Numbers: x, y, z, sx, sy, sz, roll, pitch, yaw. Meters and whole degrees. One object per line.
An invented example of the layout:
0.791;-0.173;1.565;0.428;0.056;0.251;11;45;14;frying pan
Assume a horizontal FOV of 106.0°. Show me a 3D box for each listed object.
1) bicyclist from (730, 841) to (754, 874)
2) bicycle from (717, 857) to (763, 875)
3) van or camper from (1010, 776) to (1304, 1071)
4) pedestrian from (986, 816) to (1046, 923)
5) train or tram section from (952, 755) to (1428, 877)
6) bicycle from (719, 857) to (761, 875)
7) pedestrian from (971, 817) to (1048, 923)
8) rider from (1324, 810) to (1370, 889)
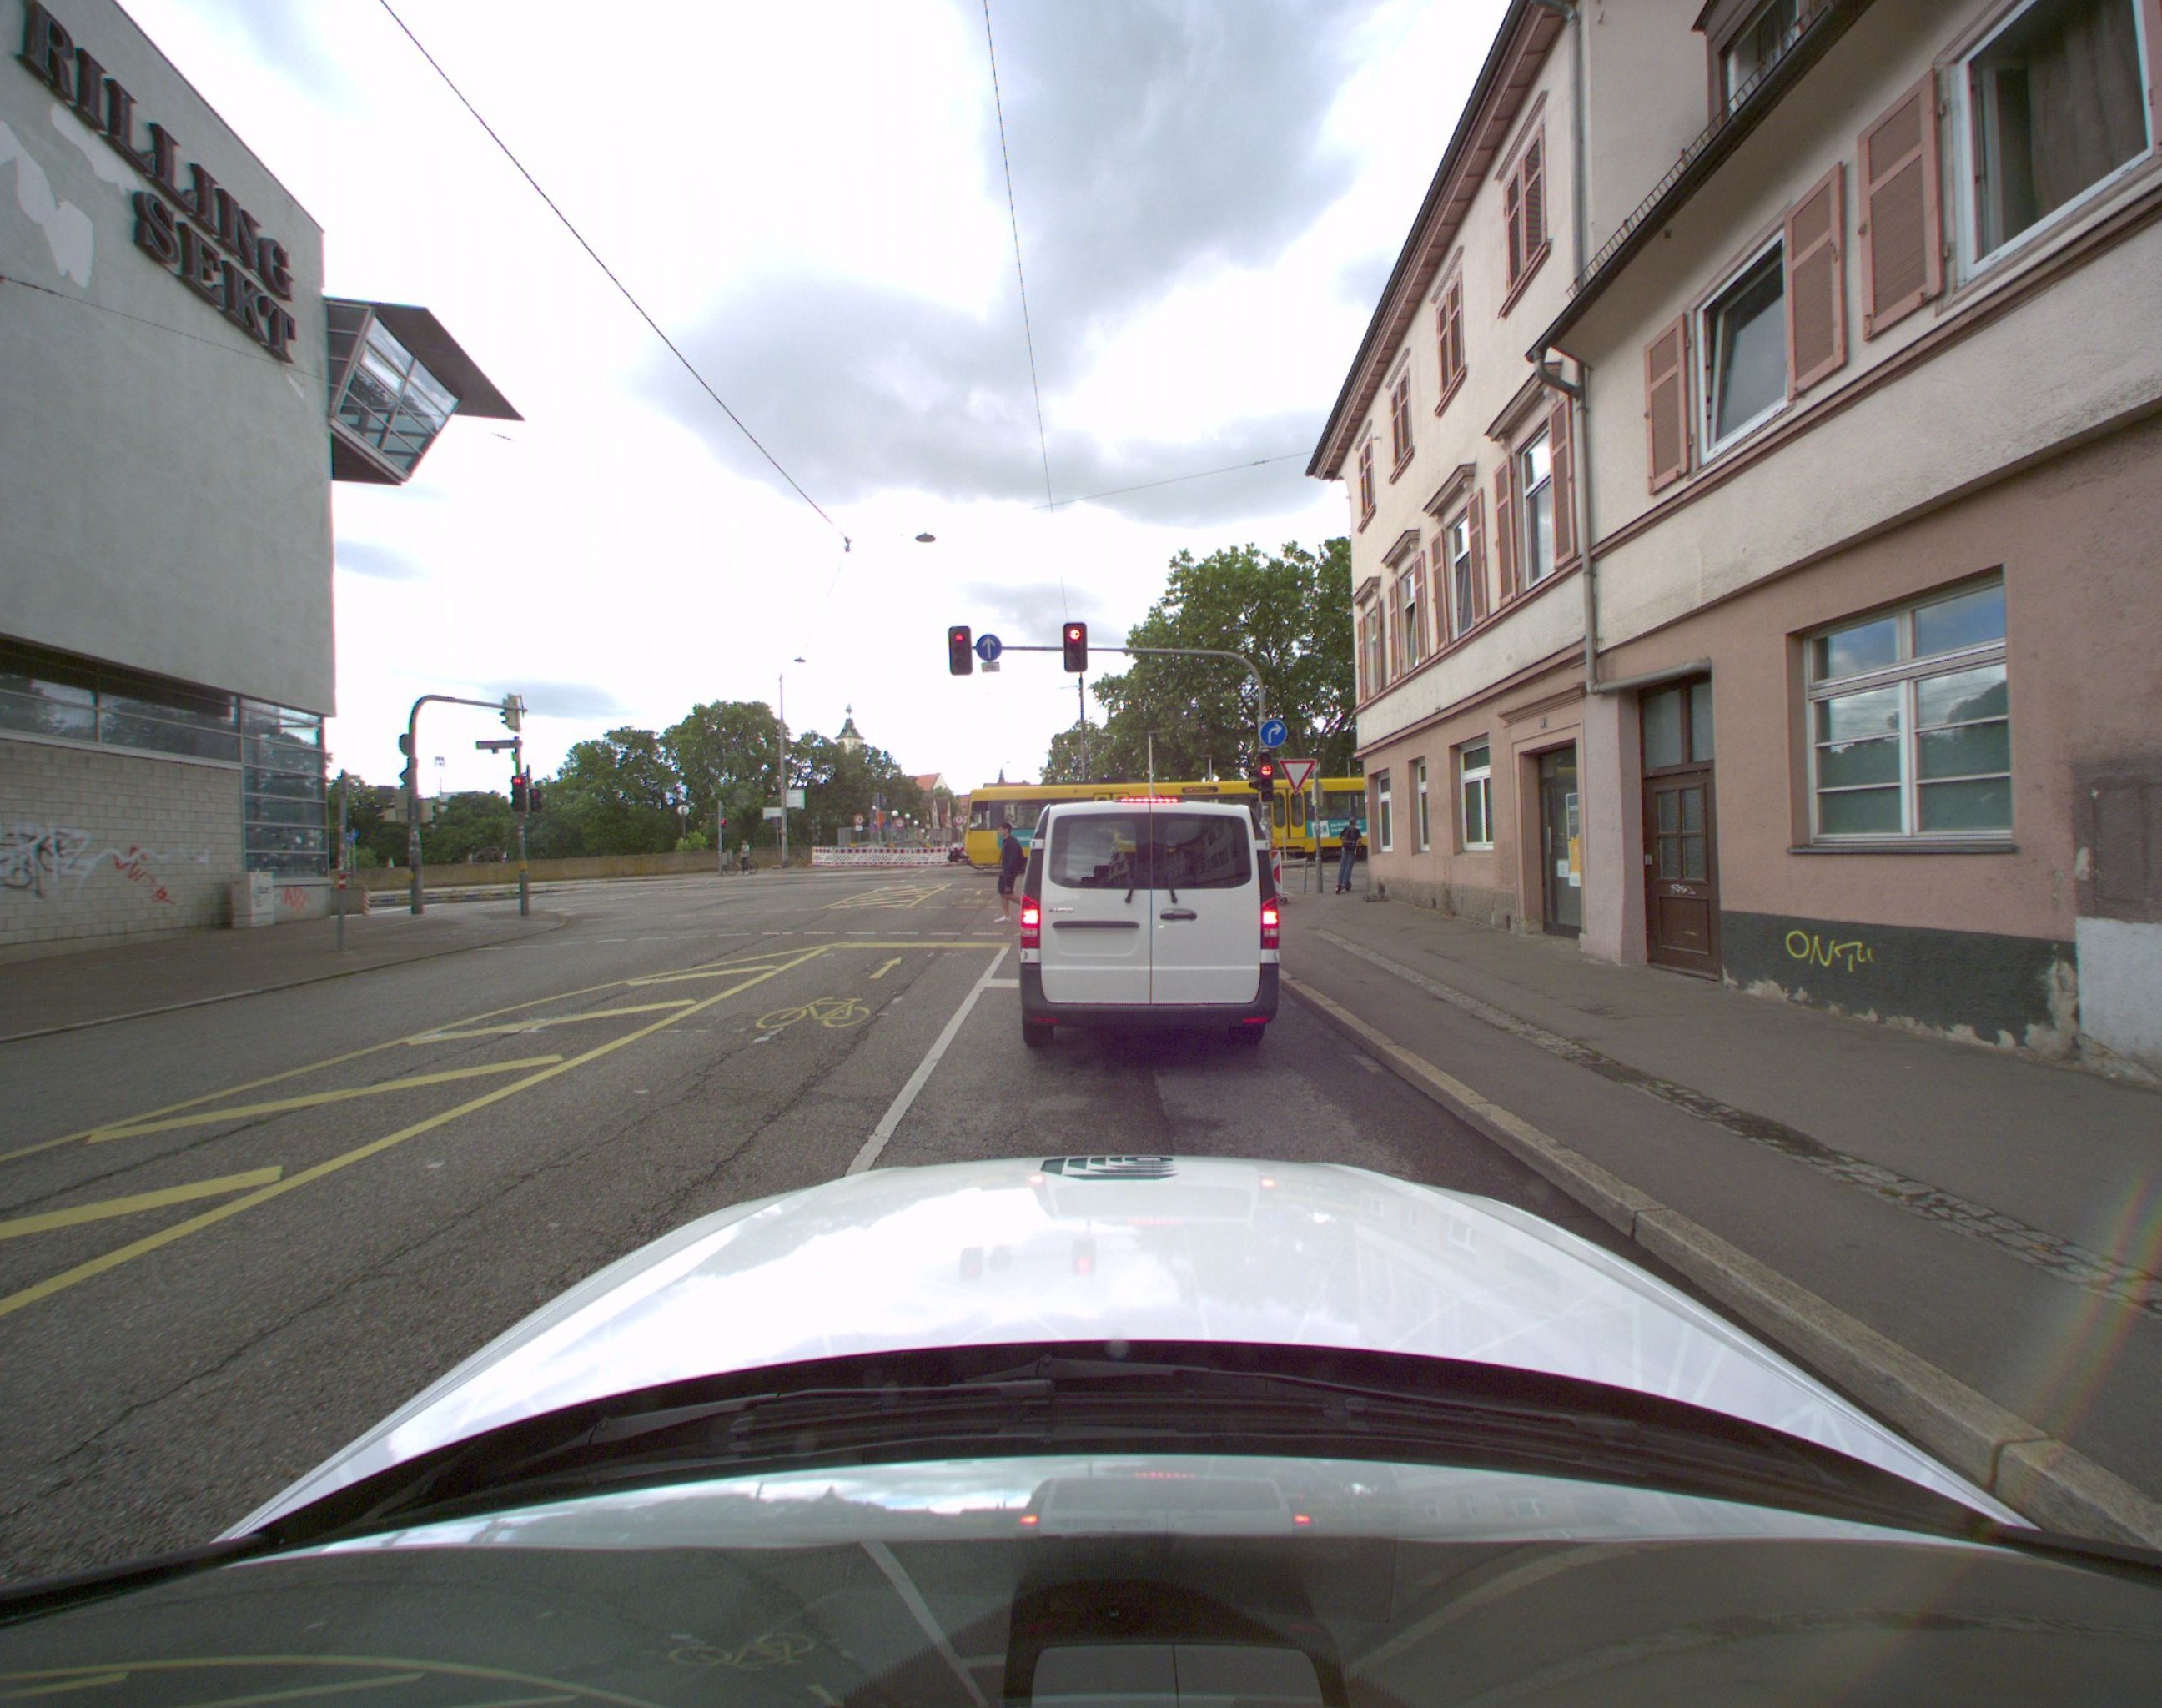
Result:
-18.149;0.190;43.589;1.009;1.743;0.746;-2;1;-38;bicyclist
-18.230;0.636;43.524;2.148;0.892;0.752;-2;2;-38;bicycle
0.492;0.431;7.584;1.932;1.924;4.440;0;1;-1;van or camper
-1.208;0.273;15.065;1.006;1.914;0.622;0;0;-16;pedestrian
4.504;-1.643;34.174;19.192;4.002;3.305;-3;2;-5;train or tram section
-18.175;0.648;43.413;1.962;0.866;0.553;-2;0;-42;bicycle
-1.308;0.270;15.000;1.159;1.856;0.671;-3;1;-38;pedestrian
6.500;-0.124;19.880;0.711;1.847;0.803;-5;0;34;rider
